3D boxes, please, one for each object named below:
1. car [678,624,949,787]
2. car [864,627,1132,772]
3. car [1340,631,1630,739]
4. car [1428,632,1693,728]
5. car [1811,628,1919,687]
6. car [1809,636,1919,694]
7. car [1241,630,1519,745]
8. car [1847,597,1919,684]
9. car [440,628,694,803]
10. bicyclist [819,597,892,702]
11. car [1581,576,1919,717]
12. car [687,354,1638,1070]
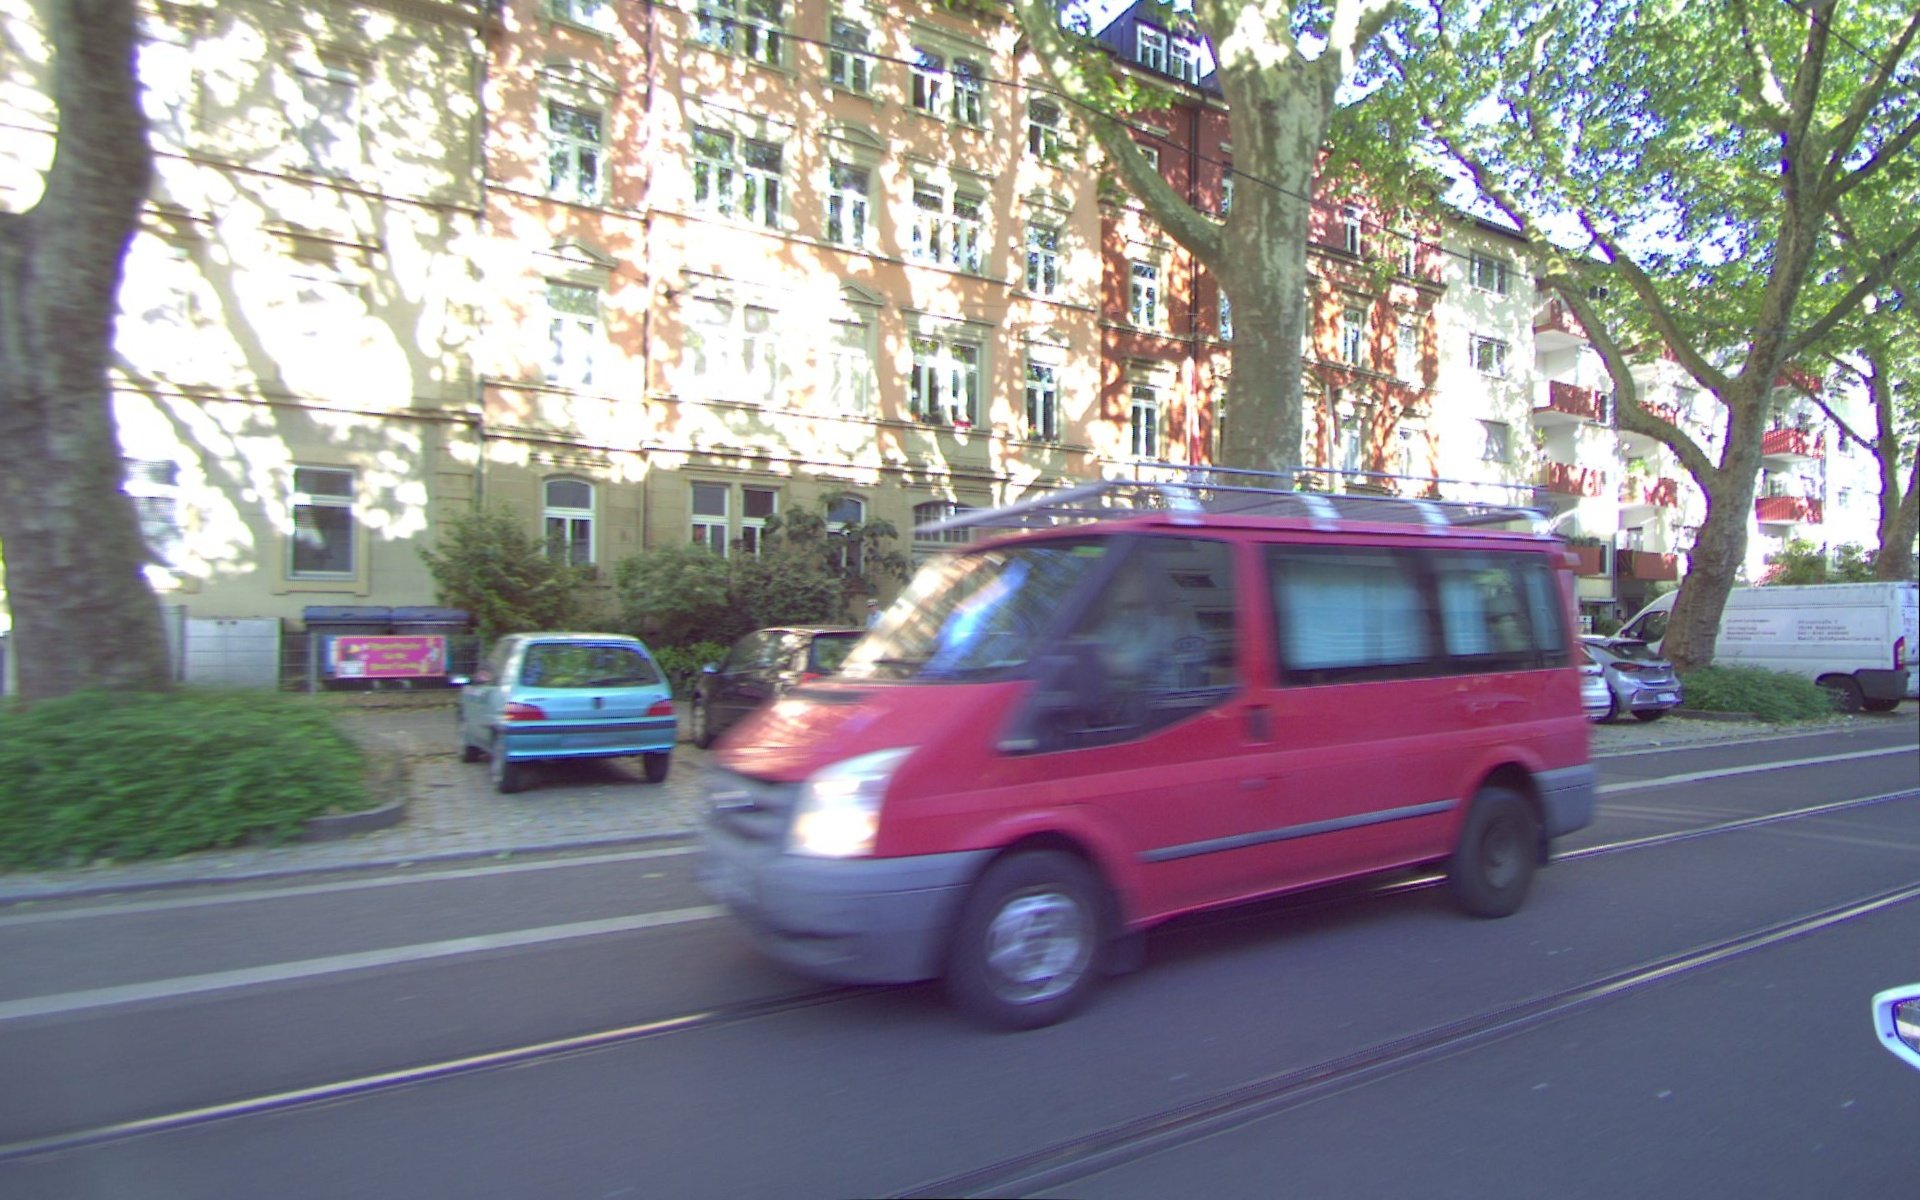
[{"bbox_3d":[-1.836,1.025,11.379,1.749,1.479,3.969,1,-1,-29],"label":"car"},{"bbox_3d":[0.296,1.103,12.656,1.682,1.479,3.973,1,-1,-27],"label":"car"},{"bbox_3d":[8.519,1.299,16.672,1.807,1.516,3.971,1,-1,-28],"label":"car"},{"bbox_3d":[10.617,1.339,18.037,1.682,1.451,3.795,1,-1,-27],"label":"car"},{"bbox_3d":[26.744,1.606,27.945,1.849,1.559,4.352,1,-1,-29],"label":"car"},{"bbox_3d":[25.142,1.696,26.060,1.910,1.403,4.390,1,-1,-29],"label":"car"},{"bbox_3d":[6.305,1.231,15.500,1.683,1.479,3.778,1,-1,-28],"label":"car"},{"bbox_3d":[29.054,1.165,28.621,2.032,2.510,5.338,1,-1,-28],"label":"car"},{"bbox_3d":[-4.176,1.003,10.298,1.589,1.387,3.962,1,-2,-34],"label":"car"},{"bbox_3d":[-1.840,0.855,17.651,1.036,1.786,0.826,1,-1,-30],"label":"bicyclist"},{"bbox_3d":[16.705,0.877,21.338,2.136,2.570,5.716,1,-1,-28],"label":"car"},{"bbox_3d":[1.265,0.440,5.287,4.904,2.256,1.908,1,-4,-31],"label":"car"}]
